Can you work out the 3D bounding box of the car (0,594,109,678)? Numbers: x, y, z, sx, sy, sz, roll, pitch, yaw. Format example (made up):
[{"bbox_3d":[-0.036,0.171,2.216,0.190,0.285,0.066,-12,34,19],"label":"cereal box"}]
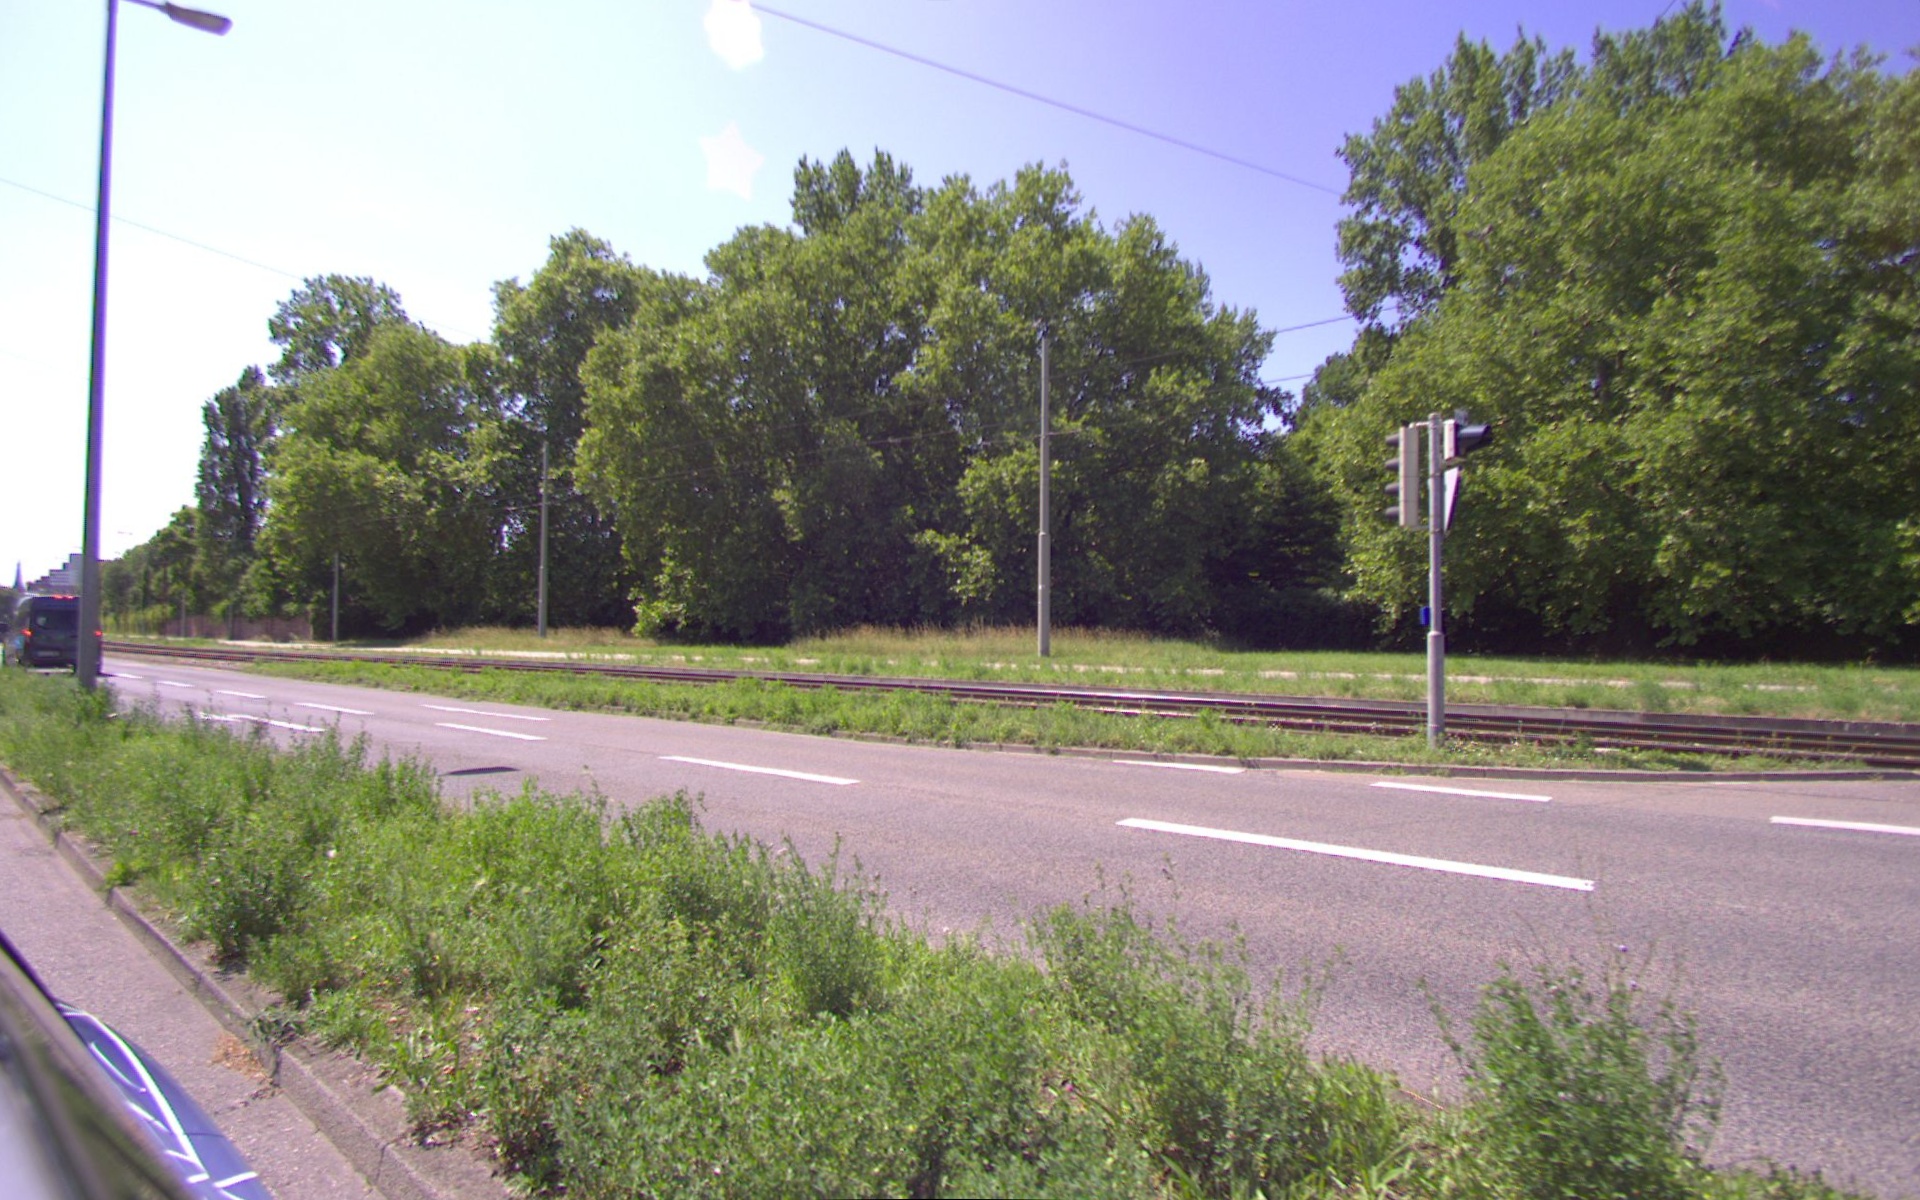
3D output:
[{"bbox_3d":[-28.050,1.107,31.077,5.368,2.384,1.973,-2,-3,40],"label":"car"}]

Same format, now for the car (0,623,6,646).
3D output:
[{"bbox_3d":[-78.798,2.772,82.024,4.614,1.815,1.810,-2,-4,43],"label":"car"}]
